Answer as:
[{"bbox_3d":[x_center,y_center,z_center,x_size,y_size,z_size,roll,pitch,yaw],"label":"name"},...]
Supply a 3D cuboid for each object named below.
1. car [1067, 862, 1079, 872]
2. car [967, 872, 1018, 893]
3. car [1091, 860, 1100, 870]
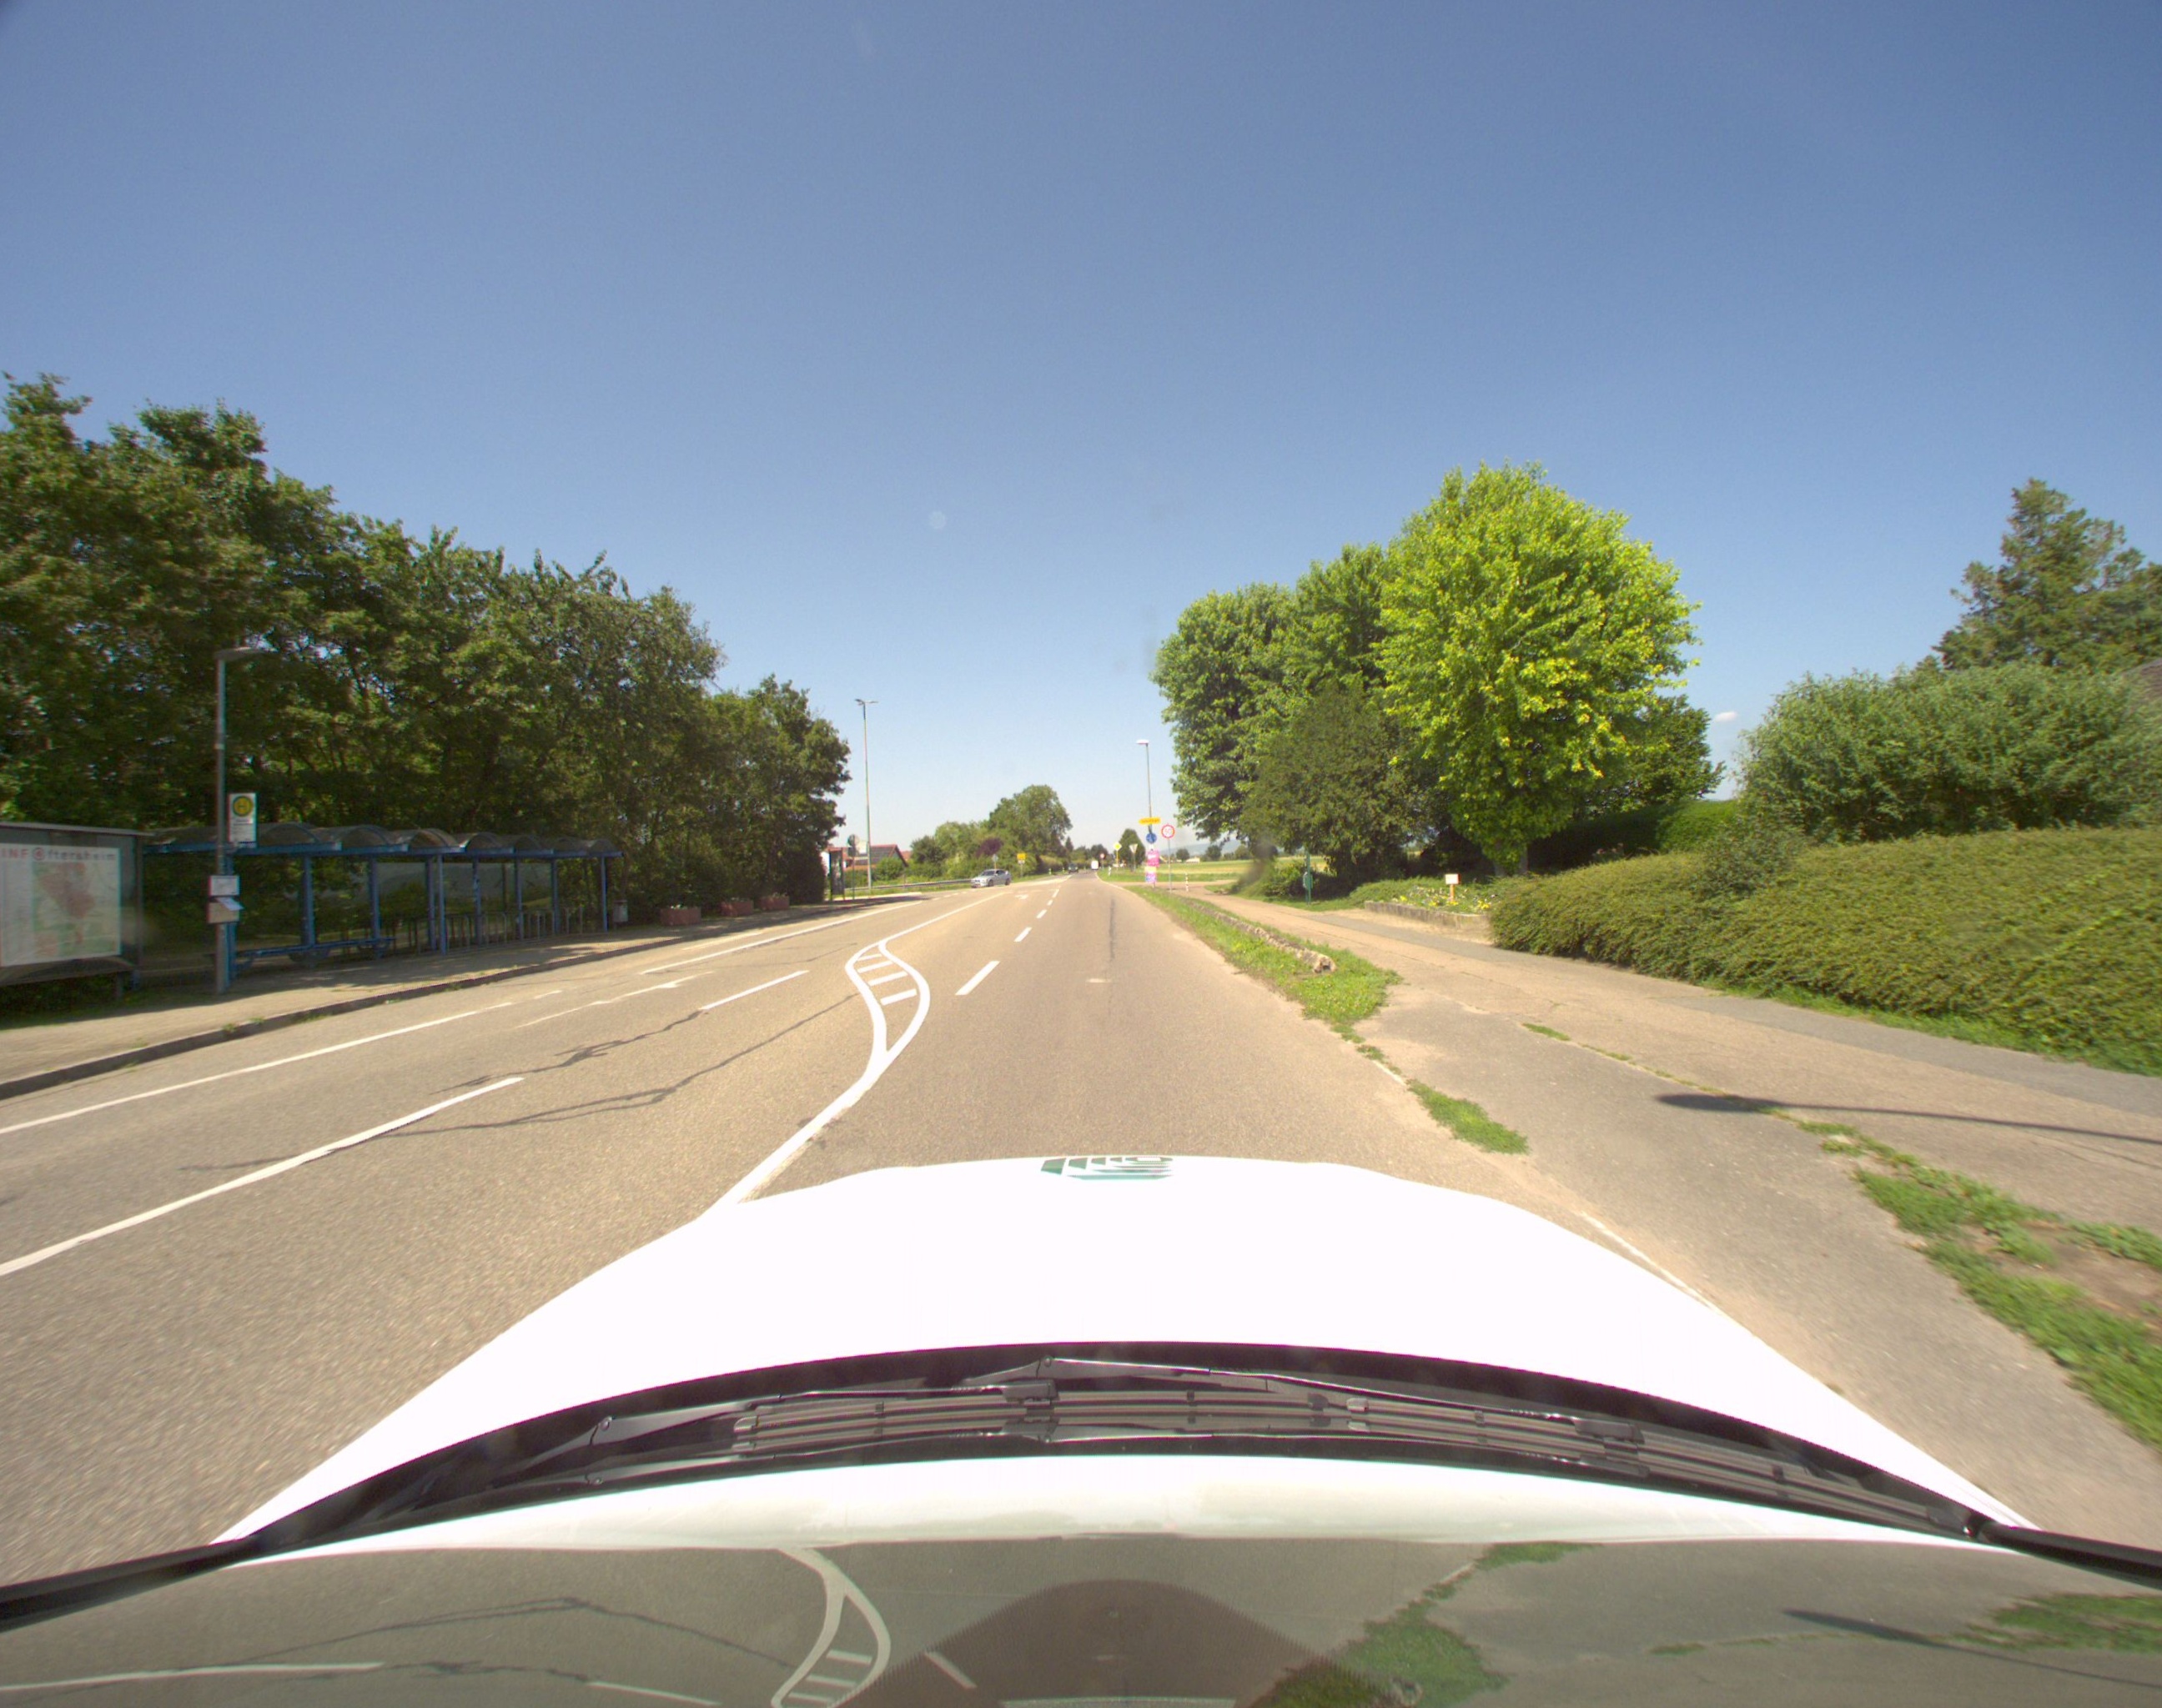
[{"bbox_3d":[-1.589,2.695,170.172,2.136,1.951,5.249,-3,-1,2],"label":"car"},{"bbox_3d":[-7.237,2.343,67.007,1.620,1.471,4.444,-4,-1,32],"label":"car"},{"bbox_3d":[4.082,3.036,232.780,1.983,2.651,4.008,-4,0,7],"label":"car"}]
